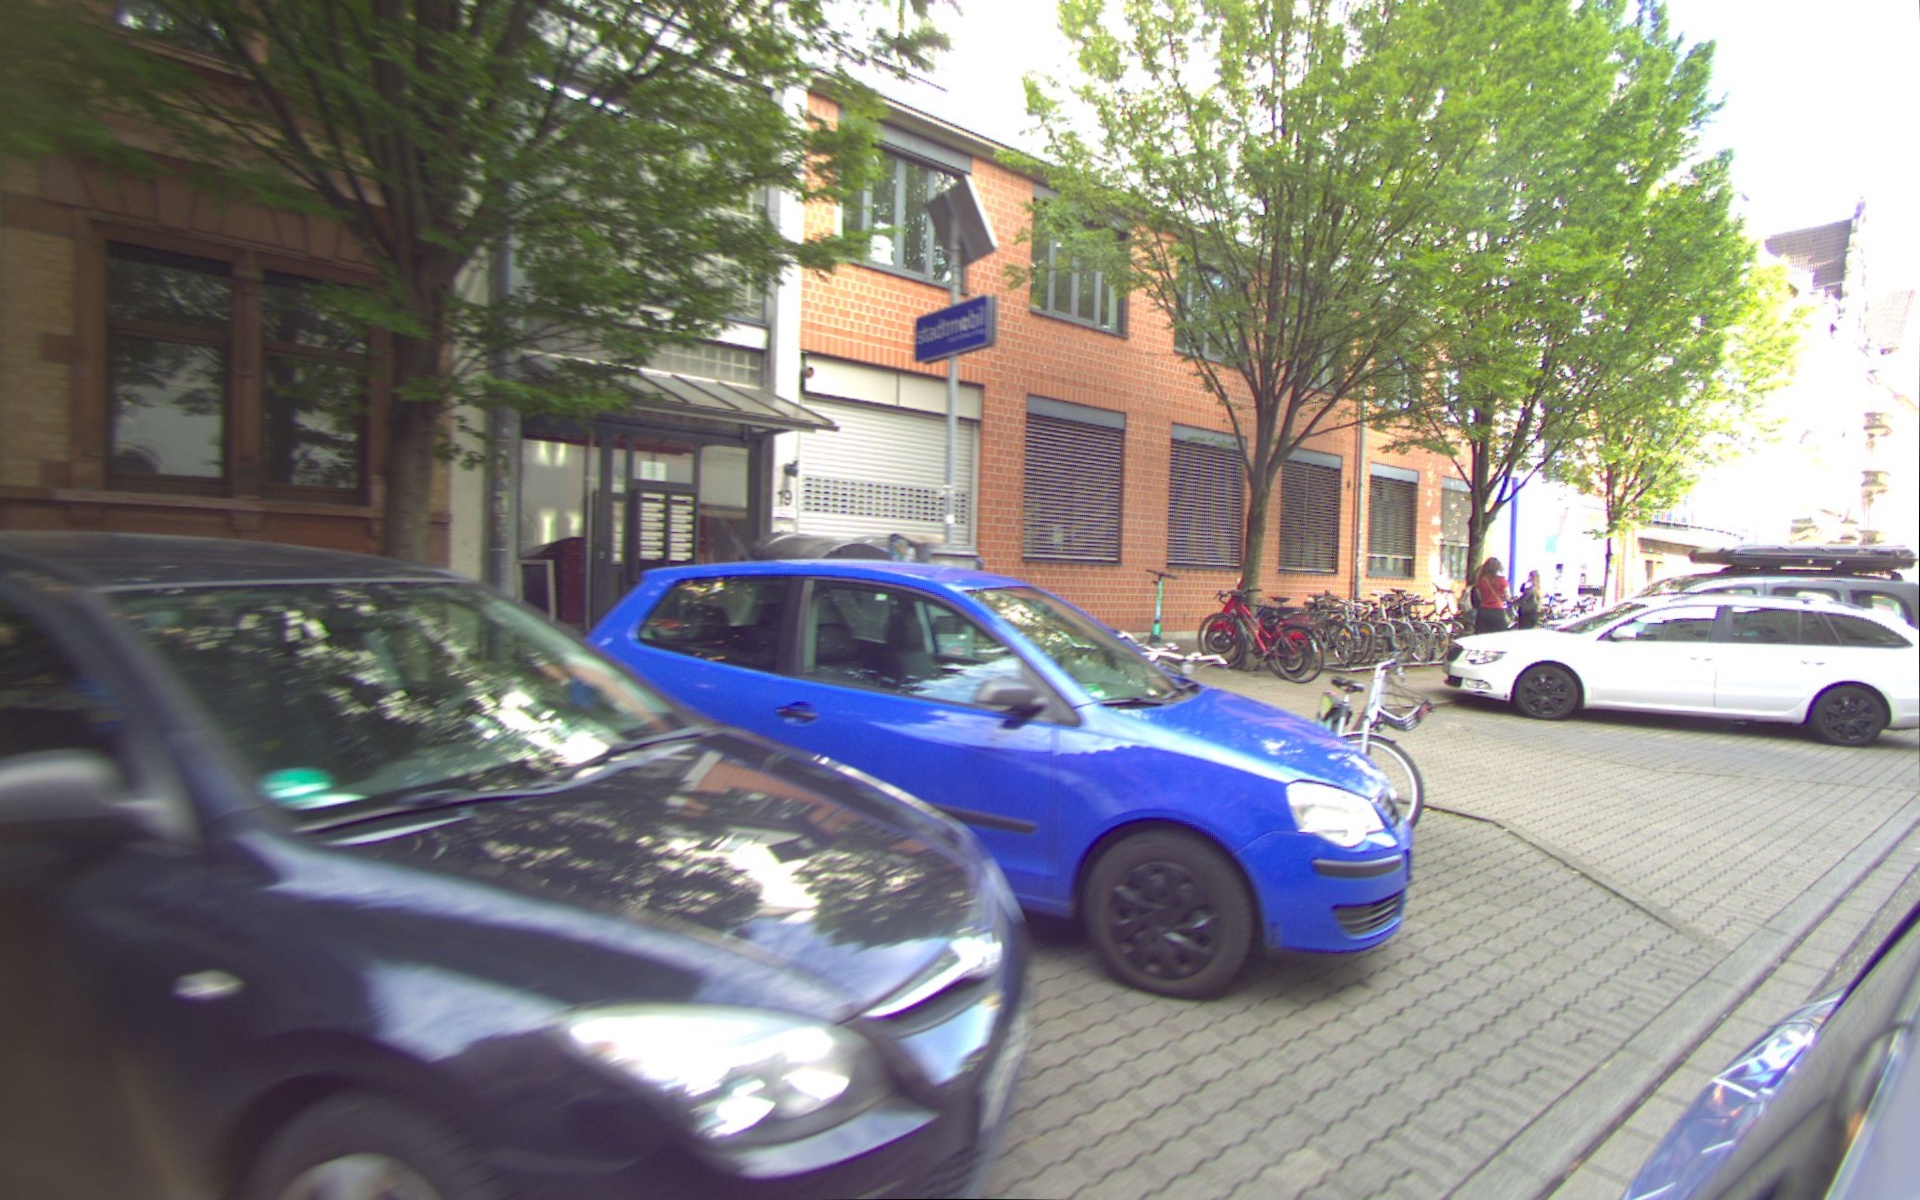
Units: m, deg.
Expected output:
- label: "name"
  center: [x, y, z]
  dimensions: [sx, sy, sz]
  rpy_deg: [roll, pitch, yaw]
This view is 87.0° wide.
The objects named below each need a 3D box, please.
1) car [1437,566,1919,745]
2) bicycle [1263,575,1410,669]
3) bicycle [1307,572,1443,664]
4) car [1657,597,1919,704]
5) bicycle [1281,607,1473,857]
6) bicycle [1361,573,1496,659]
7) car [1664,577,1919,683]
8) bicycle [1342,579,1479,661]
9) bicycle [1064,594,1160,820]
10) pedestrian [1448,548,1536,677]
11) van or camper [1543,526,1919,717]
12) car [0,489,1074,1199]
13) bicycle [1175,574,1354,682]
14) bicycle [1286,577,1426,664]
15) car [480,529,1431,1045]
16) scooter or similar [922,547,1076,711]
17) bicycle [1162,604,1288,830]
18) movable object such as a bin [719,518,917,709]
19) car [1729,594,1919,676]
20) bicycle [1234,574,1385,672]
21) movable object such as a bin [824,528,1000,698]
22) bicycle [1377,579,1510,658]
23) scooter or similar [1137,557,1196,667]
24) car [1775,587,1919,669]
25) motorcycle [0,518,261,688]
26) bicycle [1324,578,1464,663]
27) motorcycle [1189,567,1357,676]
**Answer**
- label: "car"
  center: [8.197, 0.519, 11.484]
  dimensions: [4.746, 1.562, 1.860]
  rpy_deg: [4, 3, 19]
- label: "bicycle"
  center: [5.529, 0.290, 14.956]
  dimensions: [0.607, 1.145, 1.896]
  rpy_deg: [1, 5, -42]
- label: "bicycle"
  center: [6.419, 0.247, 15.730]
  dimensions: [0.607, 1.219, 1.781]
  rpy_deg: [1, 5, -42]
- label: "car"
  center: [12.754, 0.697, 14.740]
  dimensions: [3.948, 1.417, 1.651]
  rpy_deg: [1, 0, 19]
- label: "bicycle"
  center: [2.426, 0.682, 6.104]
  dimensions: [0.691, 1.227, 1.744]
  rpy_deg: [1, 1, 10]
- label: "bicycle"
  center: [7.824, 0.231, 16.976]
  dimensions: [0.607, 1.219, 1.896]
  rpy_deg: [1, 5, -42]
- label: "car"
  center: [15.529, 0.506, 18.502]
  dimensions: [3.948, 1.783, 1.901]
  rpy_deg: [1, 0, 19]
- label: "bicycle"
  center: [7.336, 0.302, 16.573]
  dimensions: [0.607, 1.115, 1.896]
  rpy_deg: [0, 5, -42]
- label: "bicycle"
  center: [0.951, 0.604, 6.614]
  dimensions: [0.461, 1.227, 1.716]
  rpy_deg: [1, 2, 4]
- label: "pedestrian"
  center: [7.739, 0.167, 14.727]
  dimensions: [0.937, 1.759, 0.753]
  rpy_deg: [0, 4, -44]
- label: "van or camper"
  center: [10.057, 0.220, 13.161]
  dimensions: [3.950, 2.206, 1.987]
  rpy_deg: [1, 0, 20]
- label: "car"
  center: [-1.828, 0.572, 2.757]
  dimensions: [4.065, 1.539, 1.837]
  rpy_deg: [1, 1, 14]
- label: "bicycle"
  center: [3.874, 0.310, 13.035]
  dimensions: [0.806, 1.108, 2.026]
  rpy_deg: [0, 6, -40]
- label: "bicycle"
  center: [5.968, 0.275, 15.352]
  dimensions: [0.528, 1.132, 1.886]
  rpy_deg: [0, 4, -42]
- label: "car"
  center: [-0.076, 0.508, 4.701]
  dimensions: [3.957, 1.456, 1.712]
  rpy_deg: [4, 2, 24]
- label: "scooter or similar"
  center: [0.358, 0.250, 9.162]
  dimensions: [1.294, 1.397, 0.526]
  rpy_deg: [0, 0, -26]
- label: "bicycle"
  center: [1.672, 0.668, 6.611]
  dimensions: [0.441, 1.166, 1.786]
  rpy_deg: [1, 3, 4]
- label: "movable object such as a bin"
  center: [-1.333, 0.078, 9.375]
  dimensions: [1.144, 1.476, 1.376]
  rpy_deg: [0, 8, -42]
- label: "car"
  center: [18.177, 0.658, 20.271]
  dimensions: [3.948, 1.527, 1.988]
  rpy_deg: [1, 0, 19]
- label: "bicycle"
  center: [4.945, 0.293, 14.442]
  dimensions: [0.607, 1.154, 1.920]
  rpy_deg: [1, 5, -42]
- label: "movable object such as a bin"
  center: [-0.497, 0.087, 10.096]
  dimensions: [1.020, 1.462, 1.375]
  rpy_deg: [0, 7, -42]
- label: "bicycle"
  center: [8.277, 0.285, 17.401]
  dimensions: [0.607, 1.125, 1.896]
  rpy_deg: [1, 5, -42]
- label: "scooter or similar"
  center: [2.740, 0.129, 13.540]
  dimensions: [0.515, 1.329, 1.321]
  rpy_deg: [4, 4, 5]
- label: "car"
  center: [20.453, 0.587, 21.867]
  dimensions: [3.948, 1.694, 1.916]
  rpy_deg: [1, 0, 19]
- label: "motorcycle"
  center: [-6.844, 0.013, 7.684]
  dimensions: [2.447, 1.202, 0.895]
  rpy_deg: [0, 0, -41]
- label: "bicycle"
  center: [6.884, 0.295, 16.145]
  dimensions: [0.607, 1.133, 1.896]
  rpy_deg: [1, 5, -42]
- label: "motorcycle"
  center: [4.244, 0.253, 13.844]
  dimensions: [0.813, 1.241, 1.984]
  rpy_deg: [0, 5, -41]
